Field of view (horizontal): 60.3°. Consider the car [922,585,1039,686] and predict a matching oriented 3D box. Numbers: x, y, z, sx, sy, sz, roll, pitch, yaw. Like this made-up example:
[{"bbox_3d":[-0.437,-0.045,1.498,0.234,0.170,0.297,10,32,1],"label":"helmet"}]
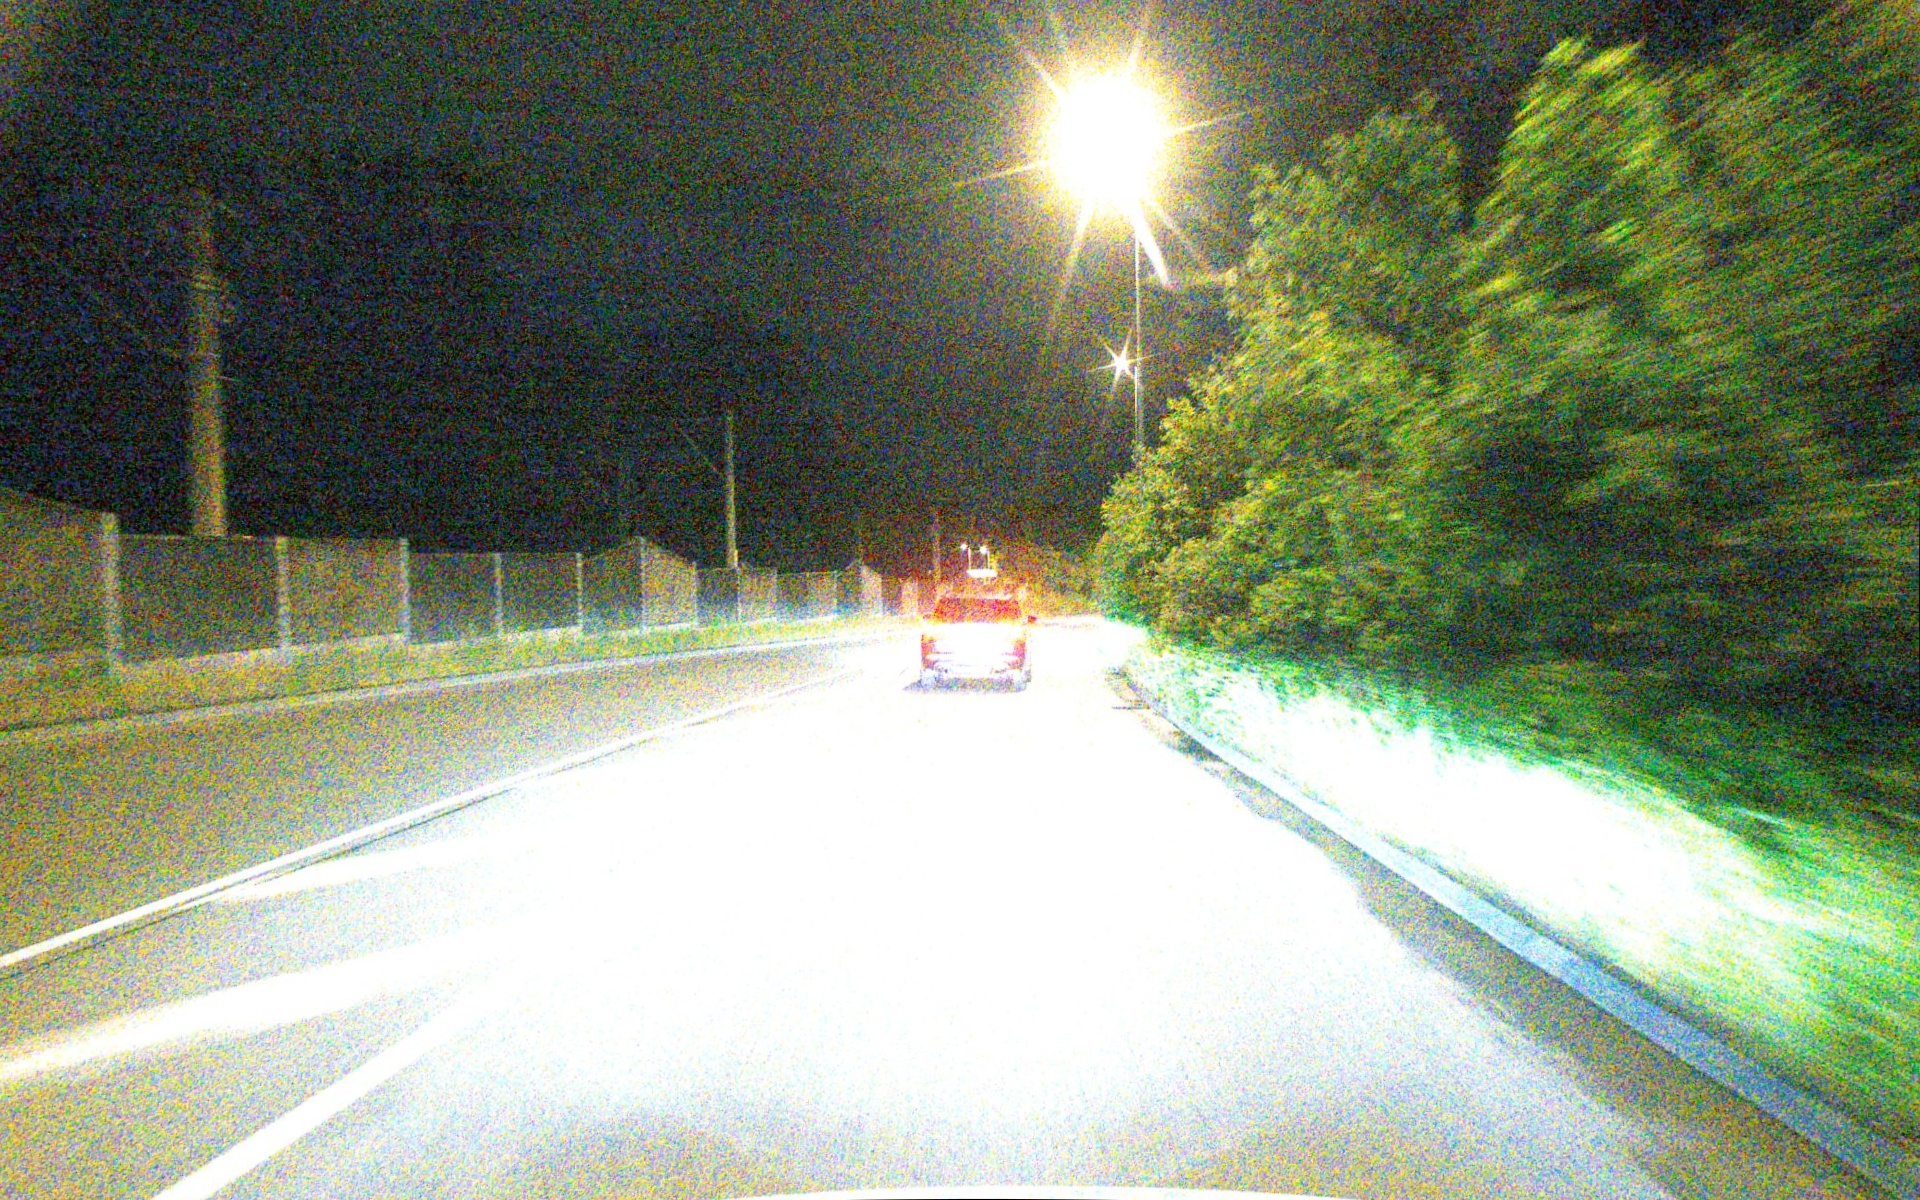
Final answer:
[{"bbox_3d":[0.424,0.559,28.667,1.776,1.601,3.945,1,0,4],"label":"car"}]
